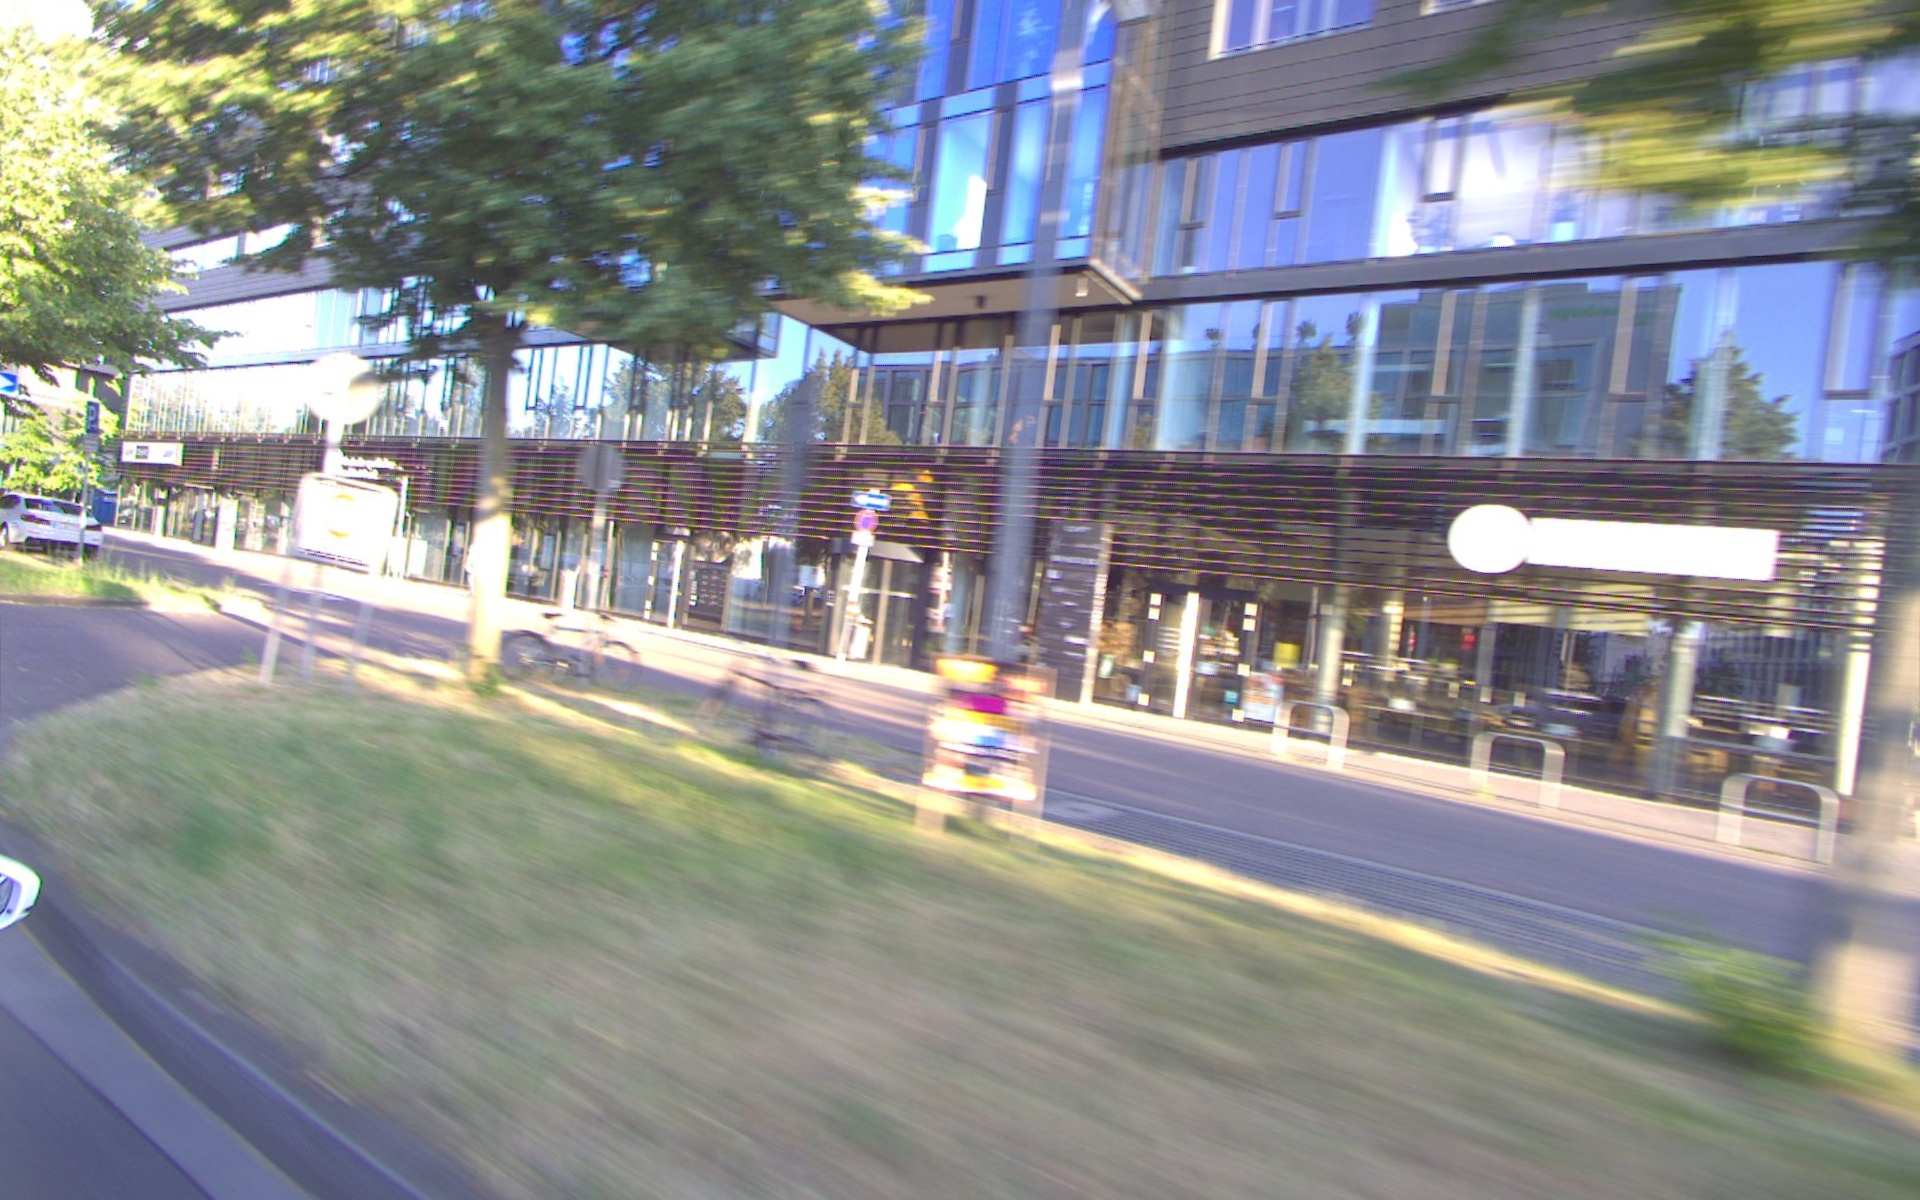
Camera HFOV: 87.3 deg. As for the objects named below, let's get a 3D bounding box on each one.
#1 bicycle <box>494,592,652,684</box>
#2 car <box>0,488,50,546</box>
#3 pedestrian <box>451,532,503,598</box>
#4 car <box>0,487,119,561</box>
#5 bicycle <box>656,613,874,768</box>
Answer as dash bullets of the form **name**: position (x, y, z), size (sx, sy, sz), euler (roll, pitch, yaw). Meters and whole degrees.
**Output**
- **bicycle**: position (-4.714, 0.471, 12.317), size (1.701, 0.921, 0.360), euler (8, 1, -23)
- **car**: position (-29.115, -2.637, 30.053), size (4.222, 1.515, 1.860), euler (7, 0, 35)
- **pedestrian**: position (-14.418, -1.044, 30.046), size (0.897, 1.819, 0.897), euler (7, 1, 33)
- **car**: position (-24.441, -2.090, 26.574), size (4.958, 1.514, 1.920), euler (7, -1, 32)
- **bicycle**: position (-1.626, 0.717, 8.325), size (1.657, 1.007, 0.580), euler (7, 1, 26)
